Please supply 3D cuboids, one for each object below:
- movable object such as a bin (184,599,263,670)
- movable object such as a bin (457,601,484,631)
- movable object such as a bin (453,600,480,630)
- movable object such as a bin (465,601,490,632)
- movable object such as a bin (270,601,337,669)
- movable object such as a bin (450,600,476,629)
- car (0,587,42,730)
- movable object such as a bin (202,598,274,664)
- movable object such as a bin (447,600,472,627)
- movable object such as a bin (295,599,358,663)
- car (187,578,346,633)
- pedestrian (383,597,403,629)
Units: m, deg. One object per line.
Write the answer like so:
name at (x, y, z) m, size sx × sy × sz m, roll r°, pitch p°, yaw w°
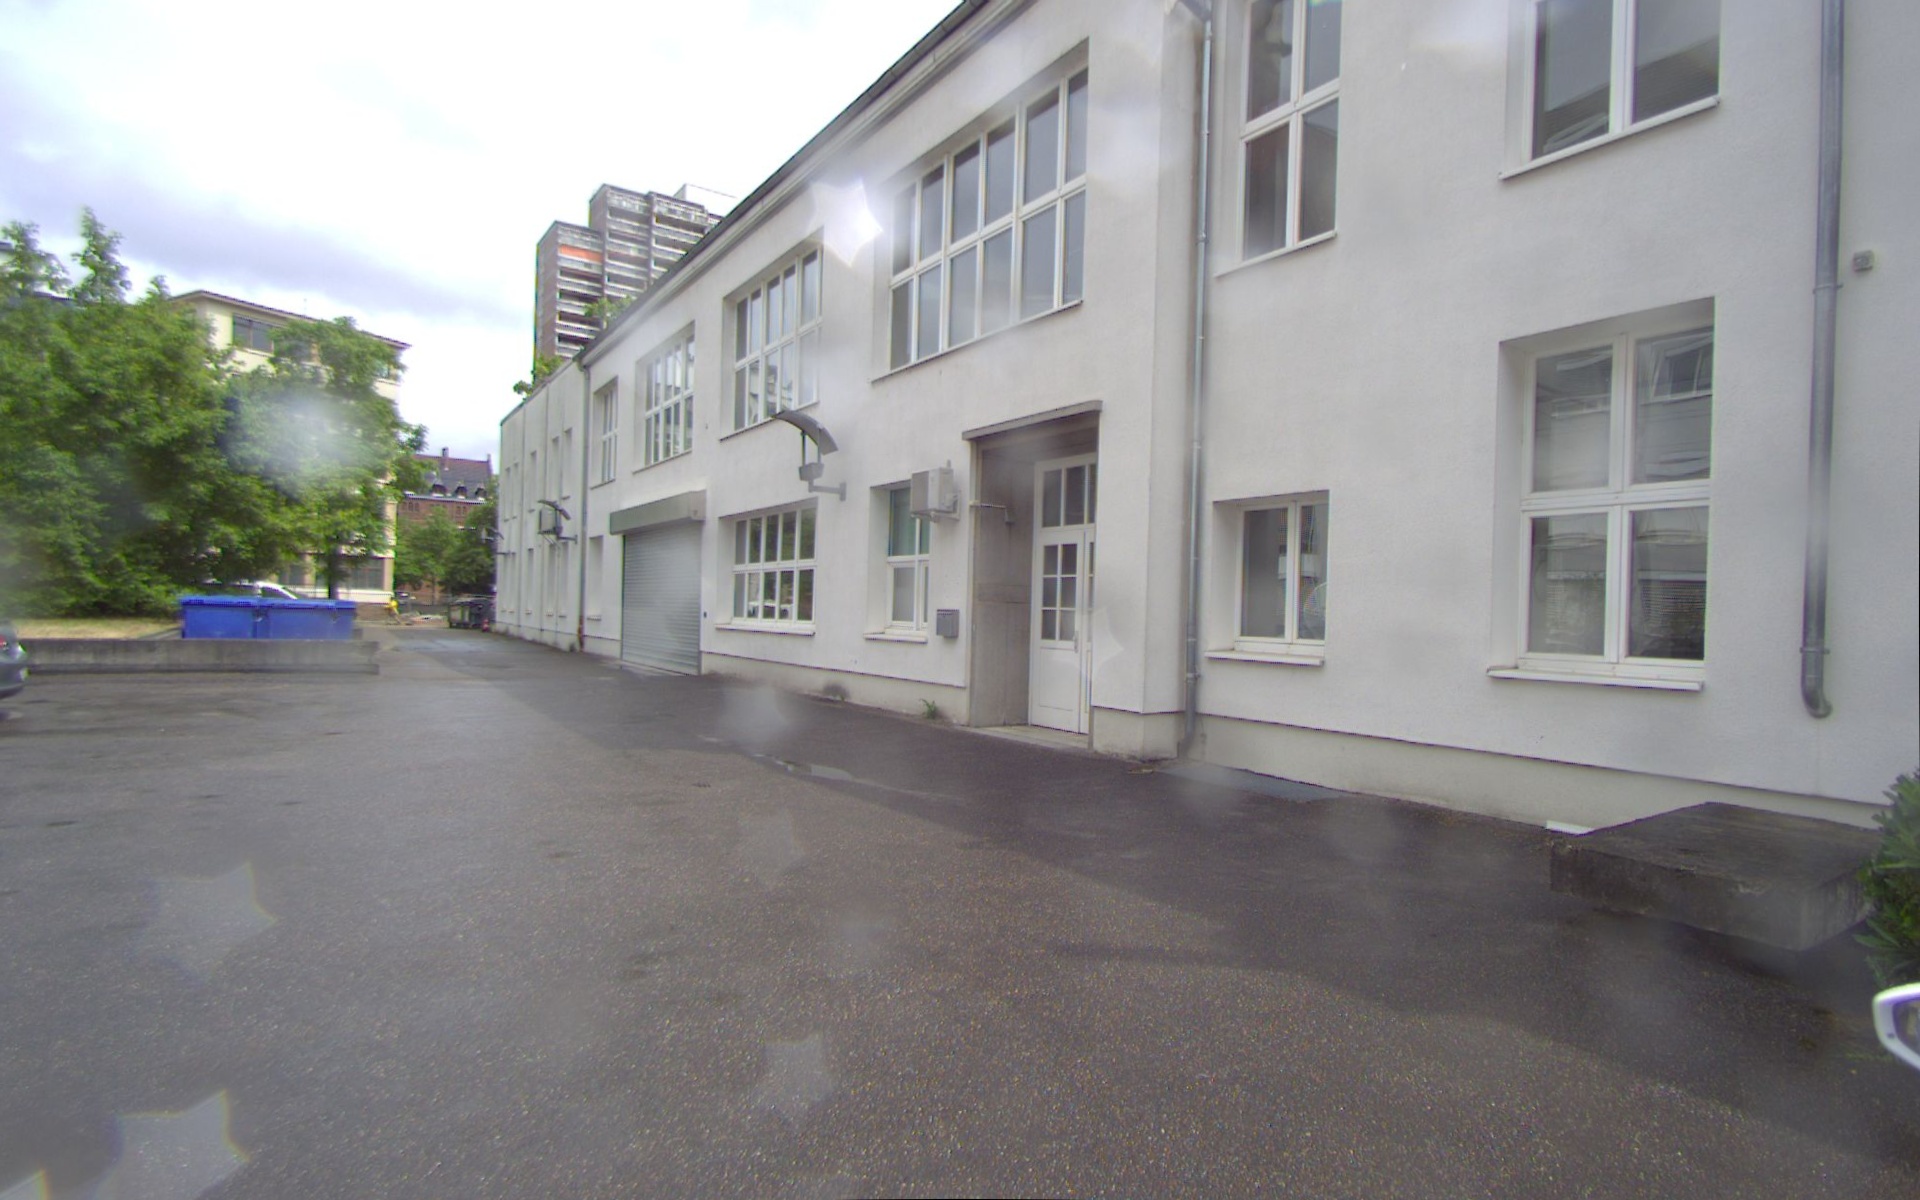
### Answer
movable object such as a bin at (-14.572, 0.668, 19.916) m, size 1.118 × 1.346 × 1.198 m, roll 1°, pitch 0°, yaw -31°
movable object such as a bin at (-23.194, 0.751, 47.557) m, size 1.034 × 1.374 × 1.198 m, roll 1°, pitch 0°, yaw -30°
movable object such as a bin at (-23.907, 0.730, 48.654) m, size 1.051 × 1.374 × 1.208 m, roll 1°, pitch 0°, yaw -30°
movable object such as a bin at (-22.151, 0.747, 46.107) m, size 0.967 × 1.374 × 0.912 m, roll 1°, pitch 0°, yaw -30°
movable object such as a bin at (-13.466, 0.703, 20.645) m, size 1.083 × 1.343 × 1.198 m, roll 1°, pitch 0°, yaw -31°
movable object such as a bin at (-24.749, 0.705, 49.974) m, size 1.054 × 1.374 × 1.254 m, roll 1°, pitch 0°, yaw -30°
car at (-11.956, 0.515, 9.804) m, size 4.282 × 1.461 × 1.742 m, roll 3°, pitch -1°, yaw -40°
movable object such as a bin at (-15.344, 0.644, 21.394) m, size 1.118 × 1.346 × 1.198 m, roll 1°, pitch 0°, yaw -31°
movable object such as a bin at (-25.485, 0.683, 51.120) m, size 1.054 × 1.374 × 1.254 m, roll 1°, pitch 0°, yaw -30°
movable object such as a bin at (-14.075, 0.679, 22.355) m, size 1.118 × 1.346 × 1.198 m, roll 1°, pitch 0°, yaw -31°
car at (-23.520, 0.185, 34.279) m, size 4.282 × 1.750 × 1.709 m, roll 1°, pitch 0°, yaw -29°
pedestrian at (-32.898, 0.743, 58.304) m, size 0.853 × 1.838 × 0.854 m, roll 1°, pitch 1°, yaw -38°
